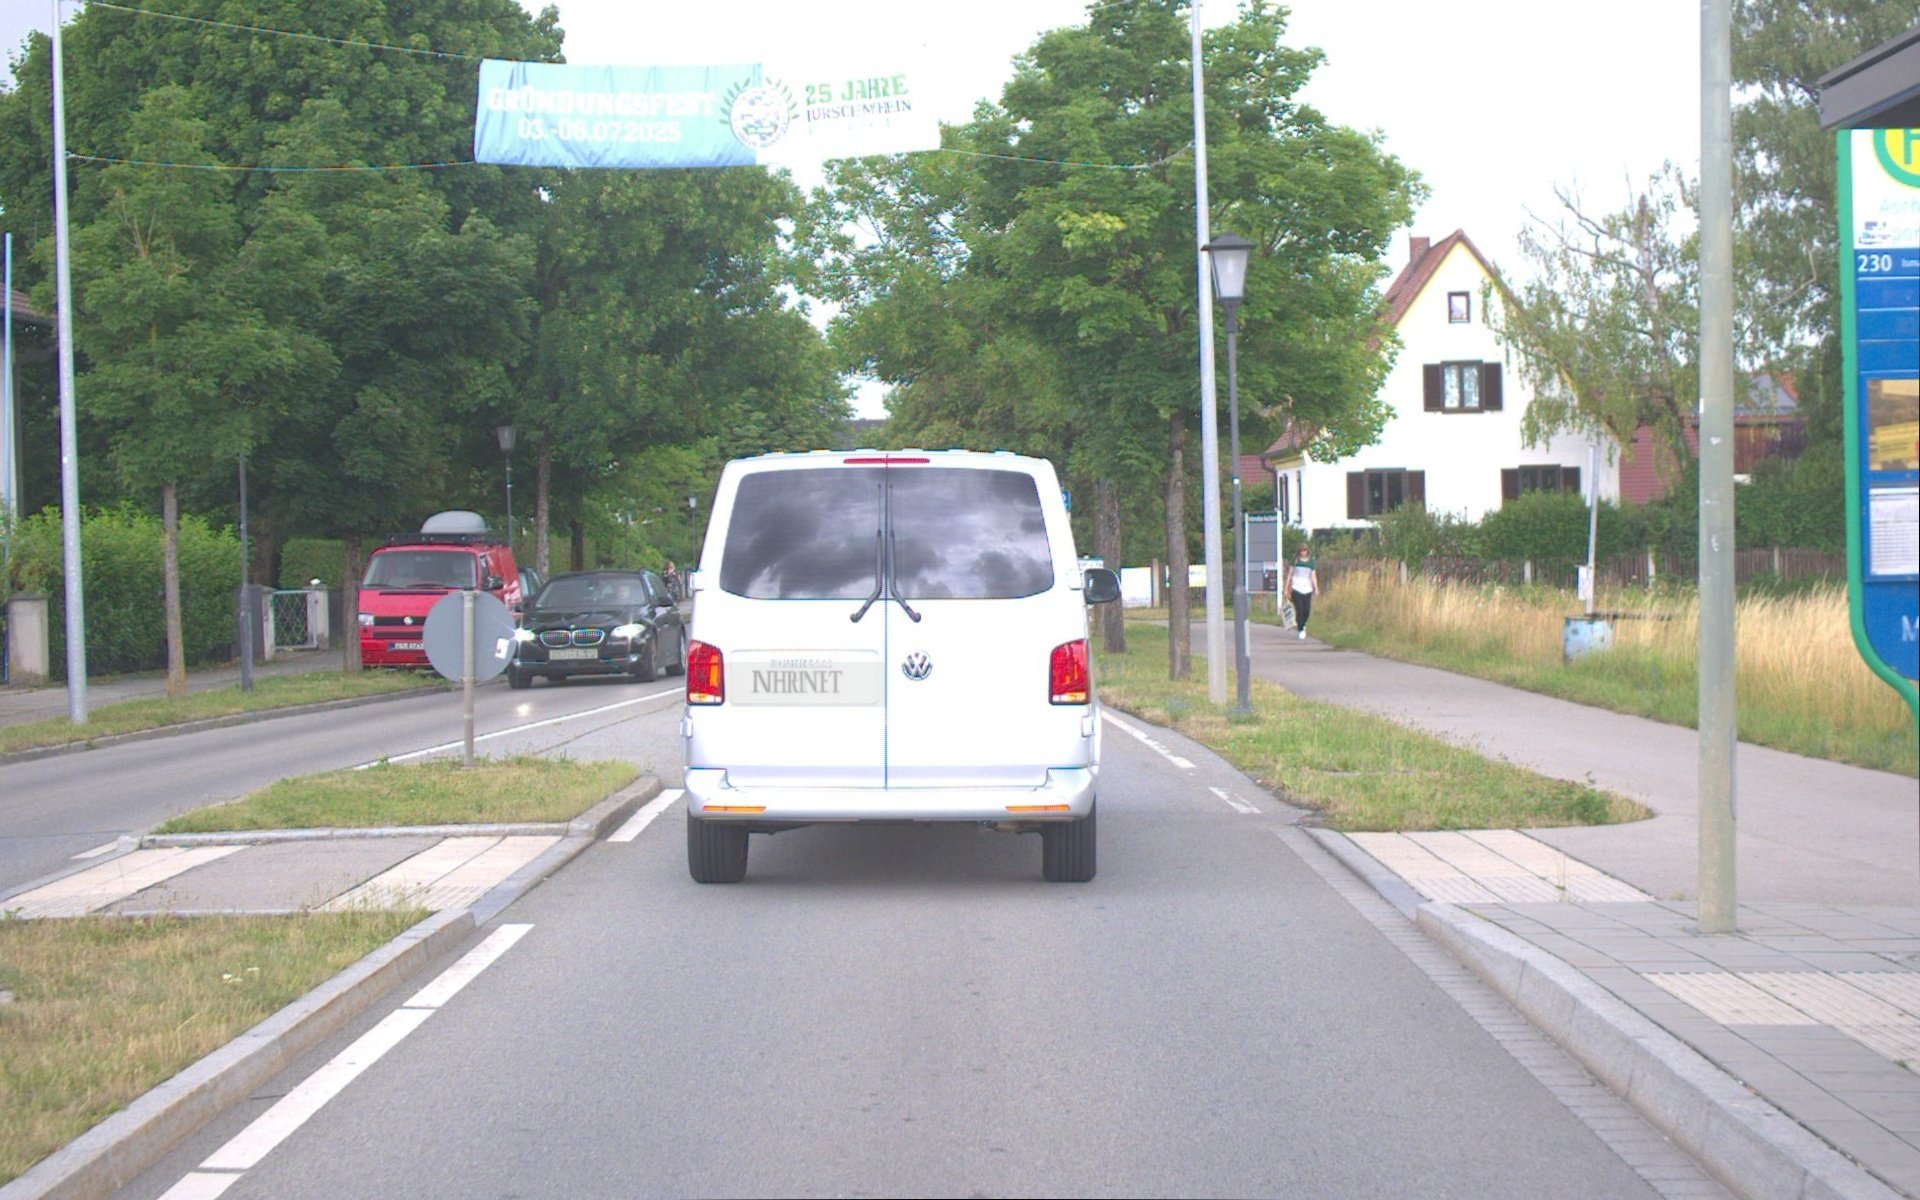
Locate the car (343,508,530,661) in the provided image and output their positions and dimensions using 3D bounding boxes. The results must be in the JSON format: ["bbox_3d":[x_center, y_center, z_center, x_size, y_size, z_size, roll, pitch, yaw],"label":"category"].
[{"bbox_3d":[-7.332,-0.253,48.606,1.830,2.023,5.046,1,1,0],"label":"car"}]

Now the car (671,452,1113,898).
[{"bbox_3d":[-0.325,0.306,16.728,1.888,1.905,4.000,0,0,-1],"label":"car"}]

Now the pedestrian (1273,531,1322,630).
[{"bbox_3d":[6.009,-0.351,61.269,0.837,1.749,0.869,0,1,4],"label":"pedestrian"}]

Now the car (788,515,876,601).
[{"bbox_3d":[-3.069,-0.995,82.902,1.993,2.007,4.000,1,0,-1],"label":"car"}]

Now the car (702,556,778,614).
[{"bbox_3d":[-6.247,-0.442,97.996,1.707,1.527,3.507,-3,1,3],"label":"car"}]

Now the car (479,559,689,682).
[{"bbox_3d":[-4.816,0.226,44.647,1.920,1.448,4.496,-1,1,4],"label":"car"}]
